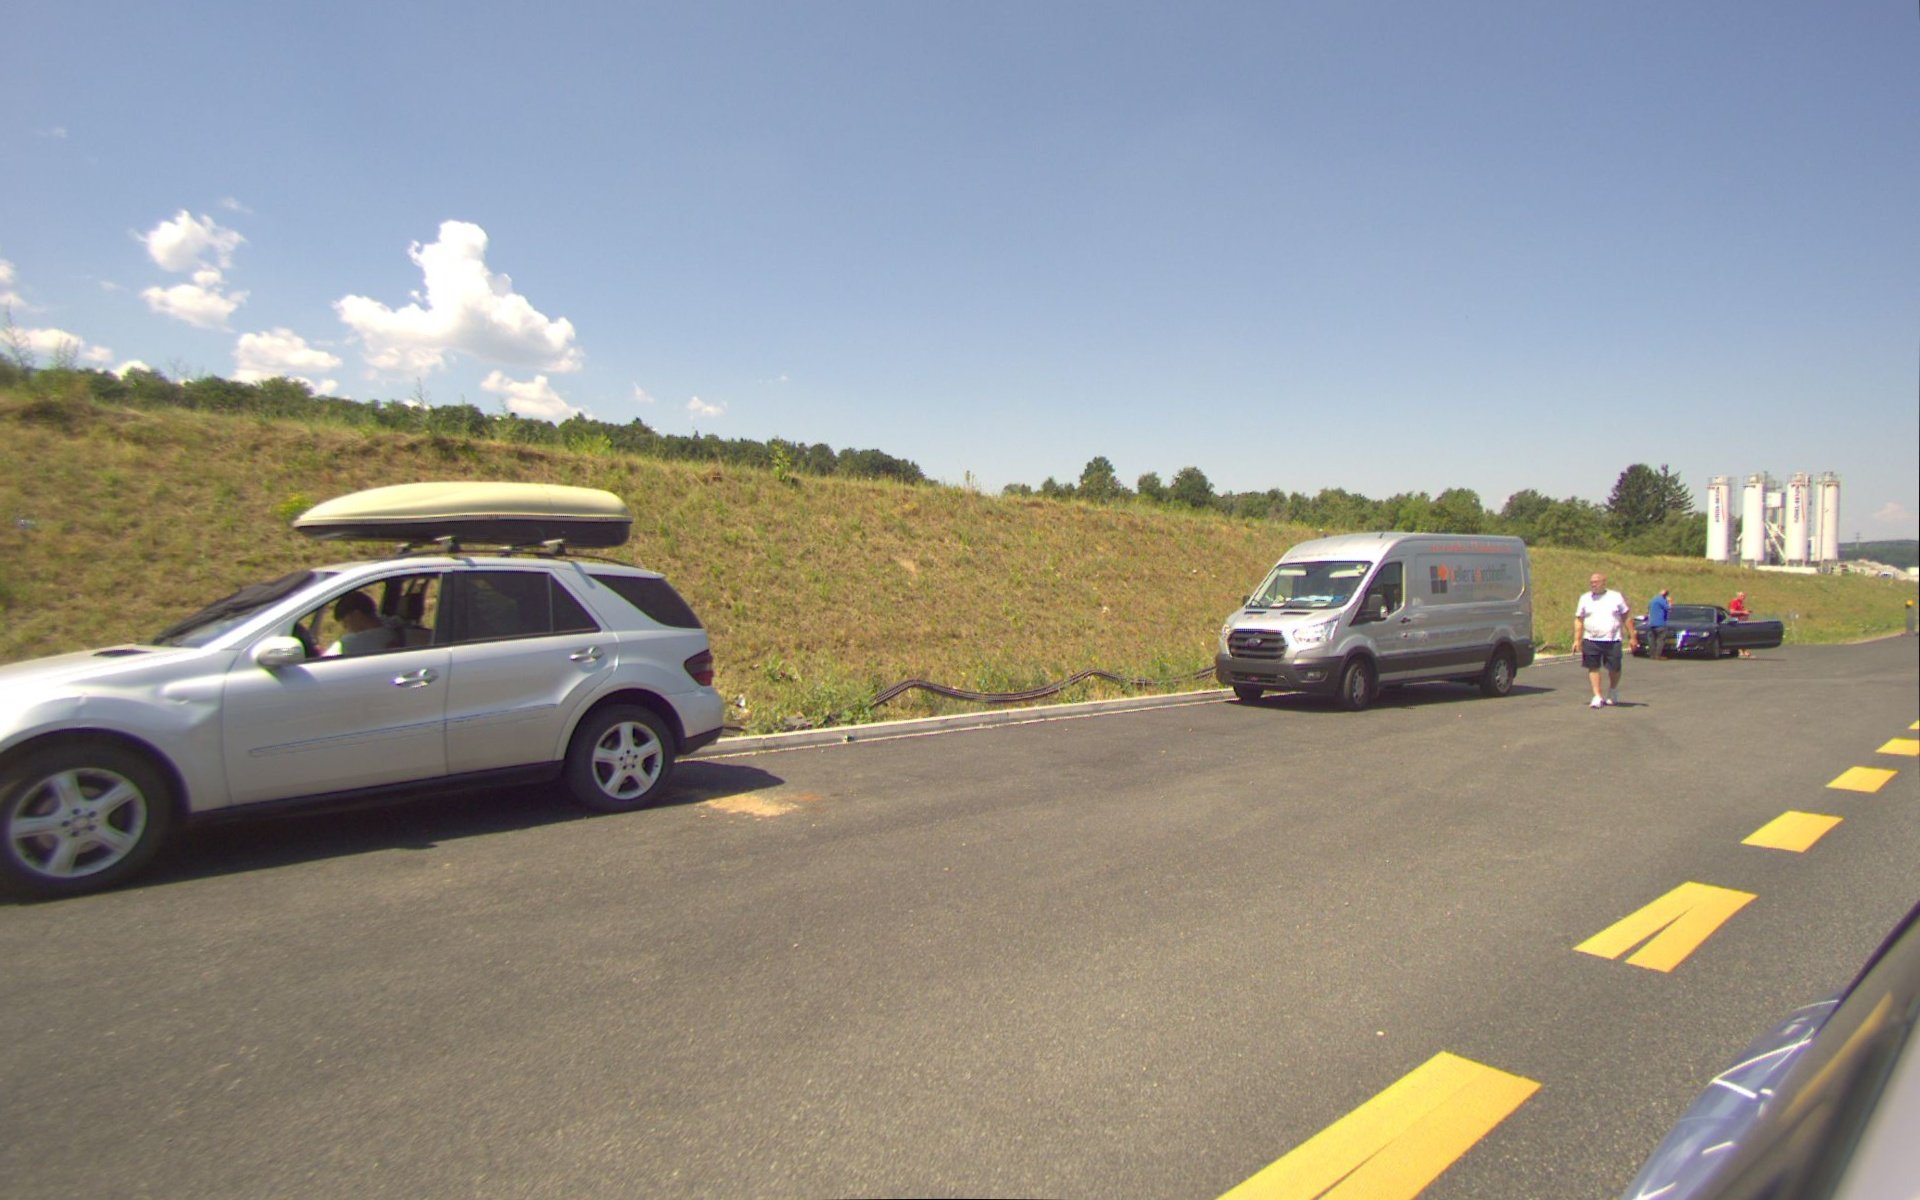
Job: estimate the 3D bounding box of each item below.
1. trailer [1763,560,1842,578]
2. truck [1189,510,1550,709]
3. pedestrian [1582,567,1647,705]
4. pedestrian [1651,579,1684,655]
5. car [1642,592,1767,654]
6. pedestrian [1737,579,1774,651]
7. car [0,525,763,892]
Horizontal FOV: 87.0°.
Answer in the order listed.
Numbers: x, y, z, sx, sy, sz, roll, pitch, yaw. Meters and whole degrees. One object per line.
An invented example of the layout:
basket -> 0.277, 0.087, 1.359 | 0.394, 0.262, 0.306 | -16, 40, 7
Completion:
trailer -> 127.522, -4.697, 153.281 | 2.424, 2.639, 8.902 | -1, 2, -44
truck -> 6.270, 0.125, 15.176 | 5.811, 2.488, 2.137 | 0, -1, -34
pedestrian -> 9.060, 0.478, 14.020 | 0.720, 1.851, 0.711 | -1, 0, 33
pedestrian -> 17.568, 0.411, 25.117 | 0.623, 1.851, 0.634 | -1, -1, 38
car -> 19.714, 0.564, 26.739 | 4.465, 1.444, 1.658 | 0, 2, -41
pedestrian -> 20.808, 0.380, 26.485 | 0.636, 1.851, 0.553 | -1, -1, 29
car -> -3.796, 0.523, 6.594 | 4.775, 1.699, 1.775 | 1, -1, -45
